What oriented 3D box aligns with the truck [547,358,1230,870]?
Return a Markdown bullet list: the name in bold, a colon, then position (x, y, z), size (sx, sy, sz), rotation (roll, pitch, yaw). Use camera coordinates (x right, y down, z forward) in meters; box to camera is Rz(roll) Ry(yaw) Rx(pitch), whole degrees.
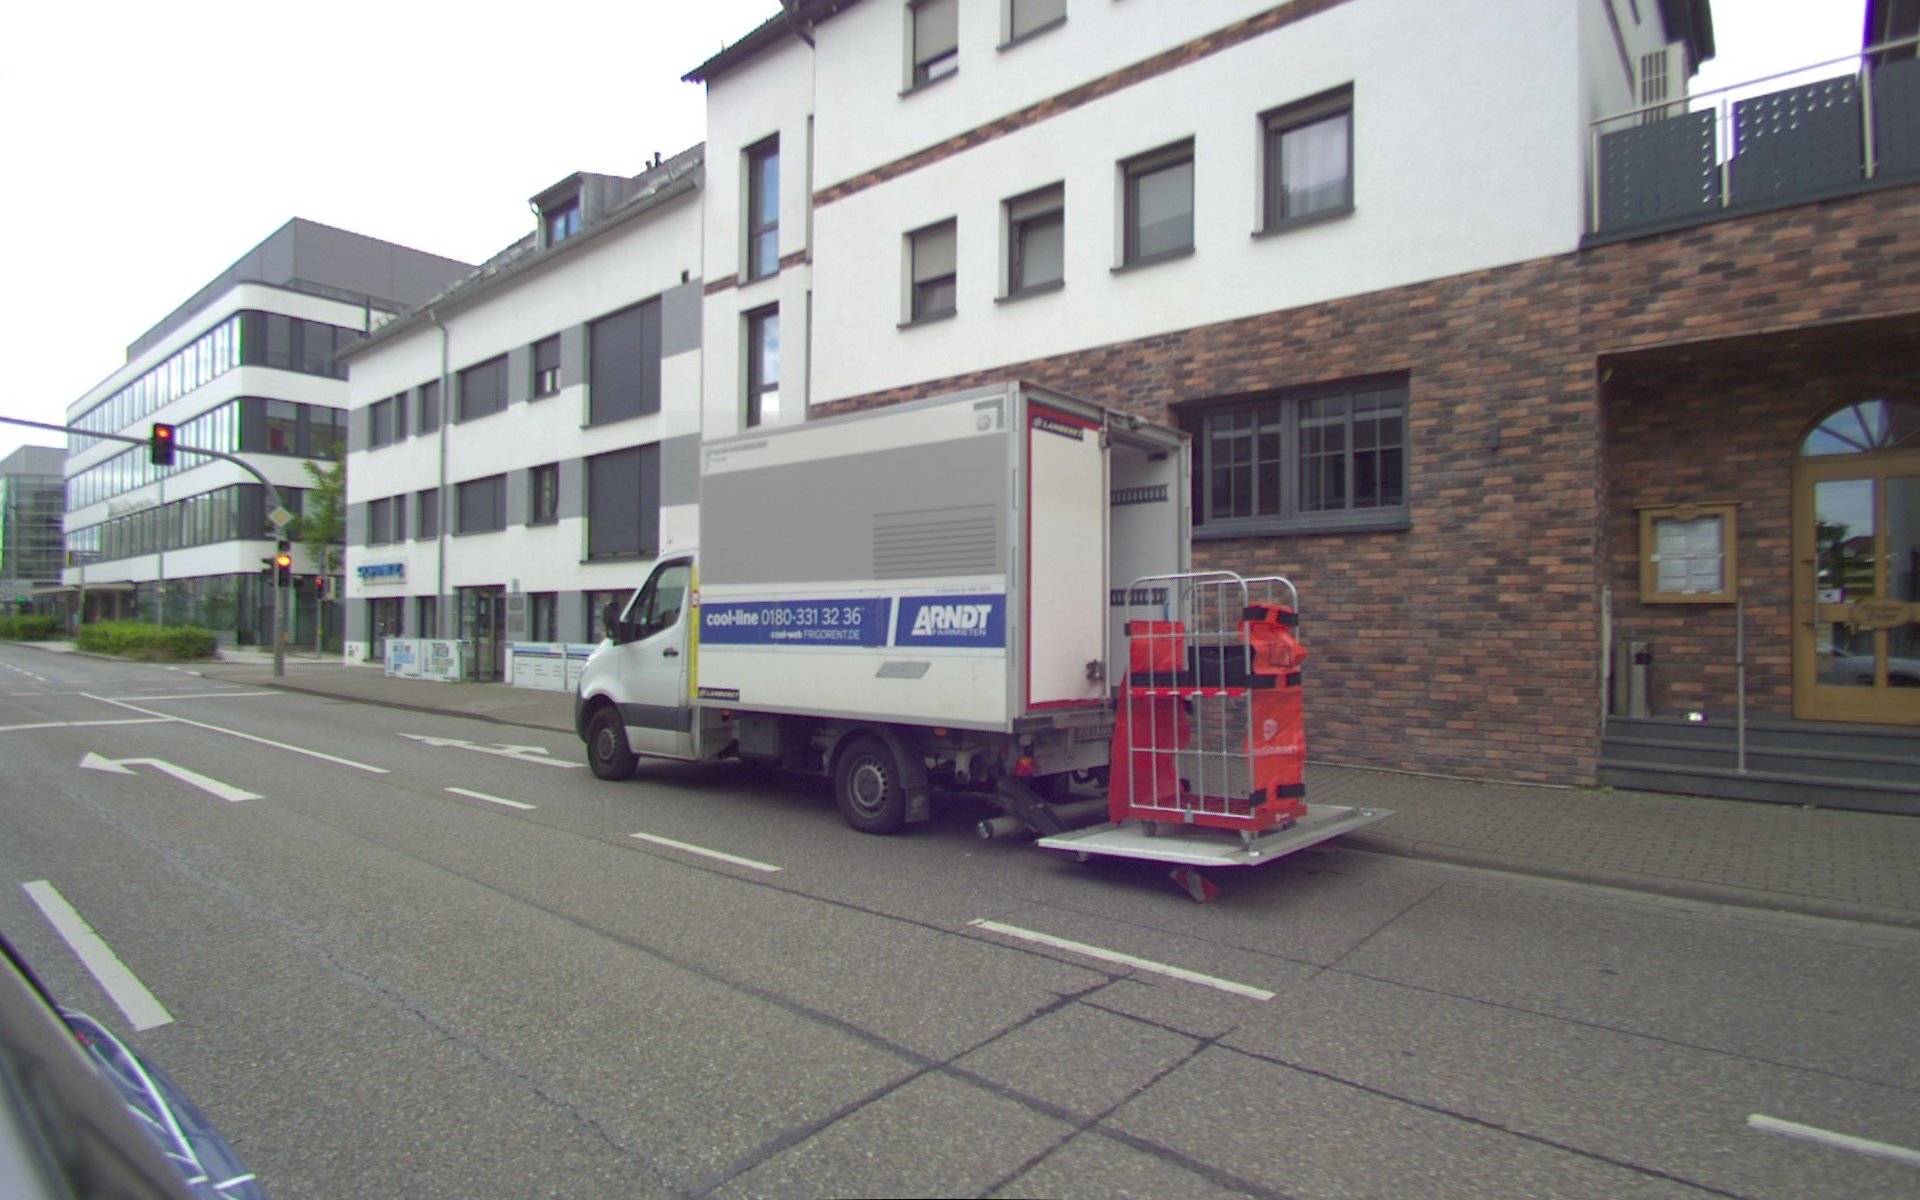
- **truck**: position (-0.979, 0.117, 8.817), size (5.961, 2.993, 2.437), rotation (-1, -1, 41)
